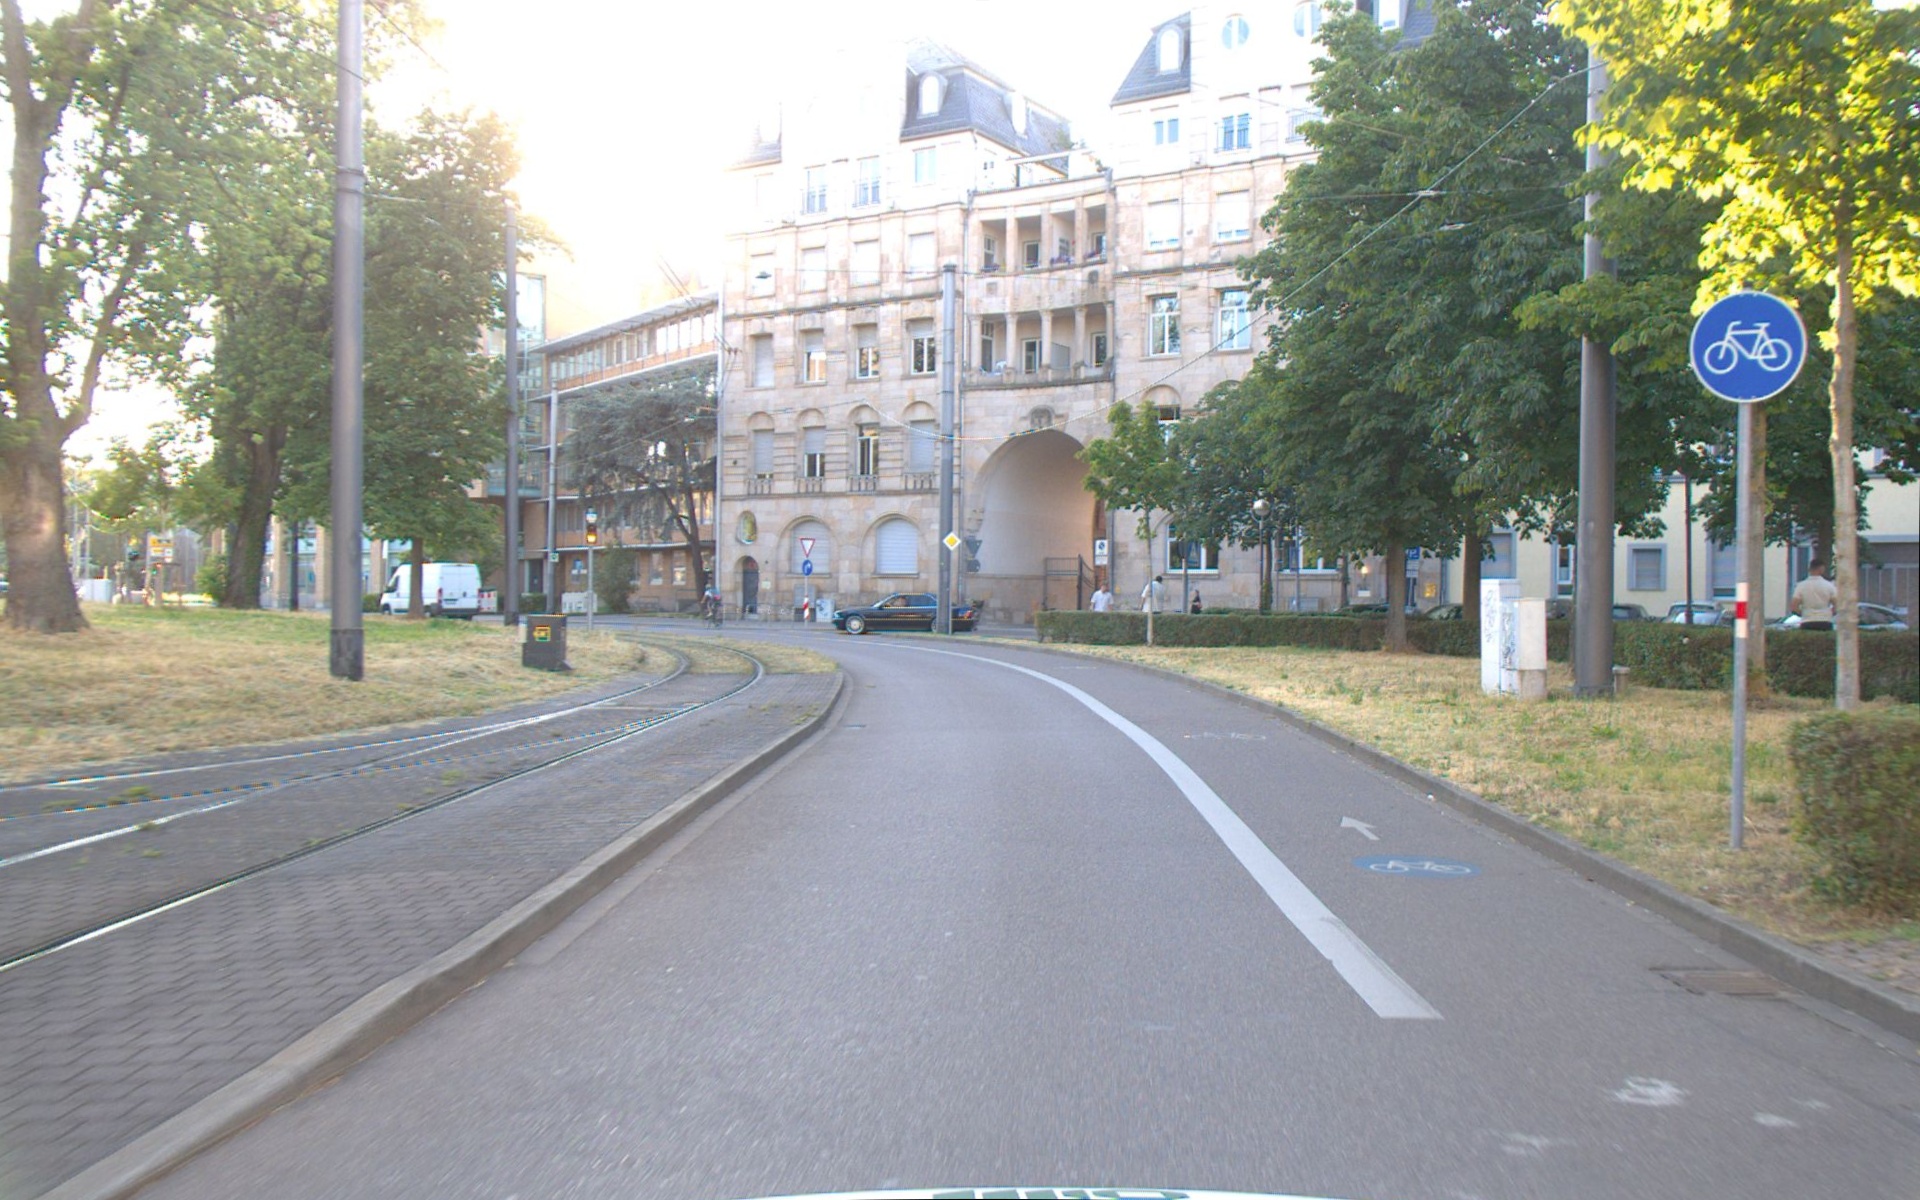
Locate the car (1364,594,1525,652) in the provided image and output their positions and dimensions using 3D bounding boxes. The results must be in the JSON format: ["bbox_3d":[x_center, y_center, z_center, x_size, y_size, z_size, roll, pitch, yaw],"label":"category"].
[{"bbox_3d":[12.641,0.591,43.077,4.283,1.451,1.838,0,-1,-37],"label":"car"}]

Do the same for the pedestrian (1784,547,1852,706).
[{"bbox_3d":[11.302,0.338,21.777,0.638,2.049,0.814,1,0,37],"label":"pedestrian"}]

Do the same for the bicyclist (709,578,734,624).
[{"bbox_3d":[-8.779,0.033,60.792,0.760,1.671,0.508,1,0,37],"label":"bicyclist"}]

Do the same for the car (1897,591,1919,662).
[{"bbox_3d":[21.579,0.563,34.662,4.283,1.451,1.838,1,1,-37],"label":"car"}]

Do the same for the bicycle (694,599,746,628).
[{"bbox_3d":[-8.823,0.487,60.830,2.198,0.995,0.508,1,0,38],"label":"bicycle"}]

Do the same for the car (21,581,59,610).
[{"bbox_3d":[-68.864,-0.331,123.736,2.120,2.049,3.952,1,1,-35],"label":"car"}]

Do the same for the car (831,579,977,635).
[{"bbox_3d":[-1.823,0.221,54.848,4.654,1.792,1.821,1,0,5],"label":"car"}]

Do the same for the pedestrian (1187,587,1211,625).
[{"bbox_3d":[8.740,0.221,60.545,0.673,1.392,0.633,1,0,33],"label":"pedestrian"}]

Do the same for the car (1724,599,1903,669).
[{"bbox_3d":[18.858,0.731,36.488,4.283,1.451,1.838,0,-1,-37],"label":"car"}]

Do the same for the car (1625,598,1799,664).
[{"bbox_3d":[17.321,0.693,38.013,4.283,1.451,1.838,0,-1,-37],"label":"car"}]

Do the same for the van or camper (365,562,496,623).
[{"bbox_3d":[-22.911,-0.353,71.456,6.206,2.515,2.601,1,1,41],"label":"van or camper"}]

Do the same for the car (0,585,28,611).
[{"bbox_3d":[-77.754,-0.194,135.465,2.120,2.049,3.952,1,1,-35],"label":"car"}]

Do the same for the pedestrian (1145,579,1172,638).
[{"bbox_3d":[5.285,0.225,44.089,0.619,1.537,0.688,1,0,13],"label":"pedestrian"}]

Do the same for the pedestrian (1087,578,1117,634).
[{"bbox_3d":[3.987,0.172,46.341,0.581,1.537,0.686,1,0,31],"label":"pedestrian"}]
